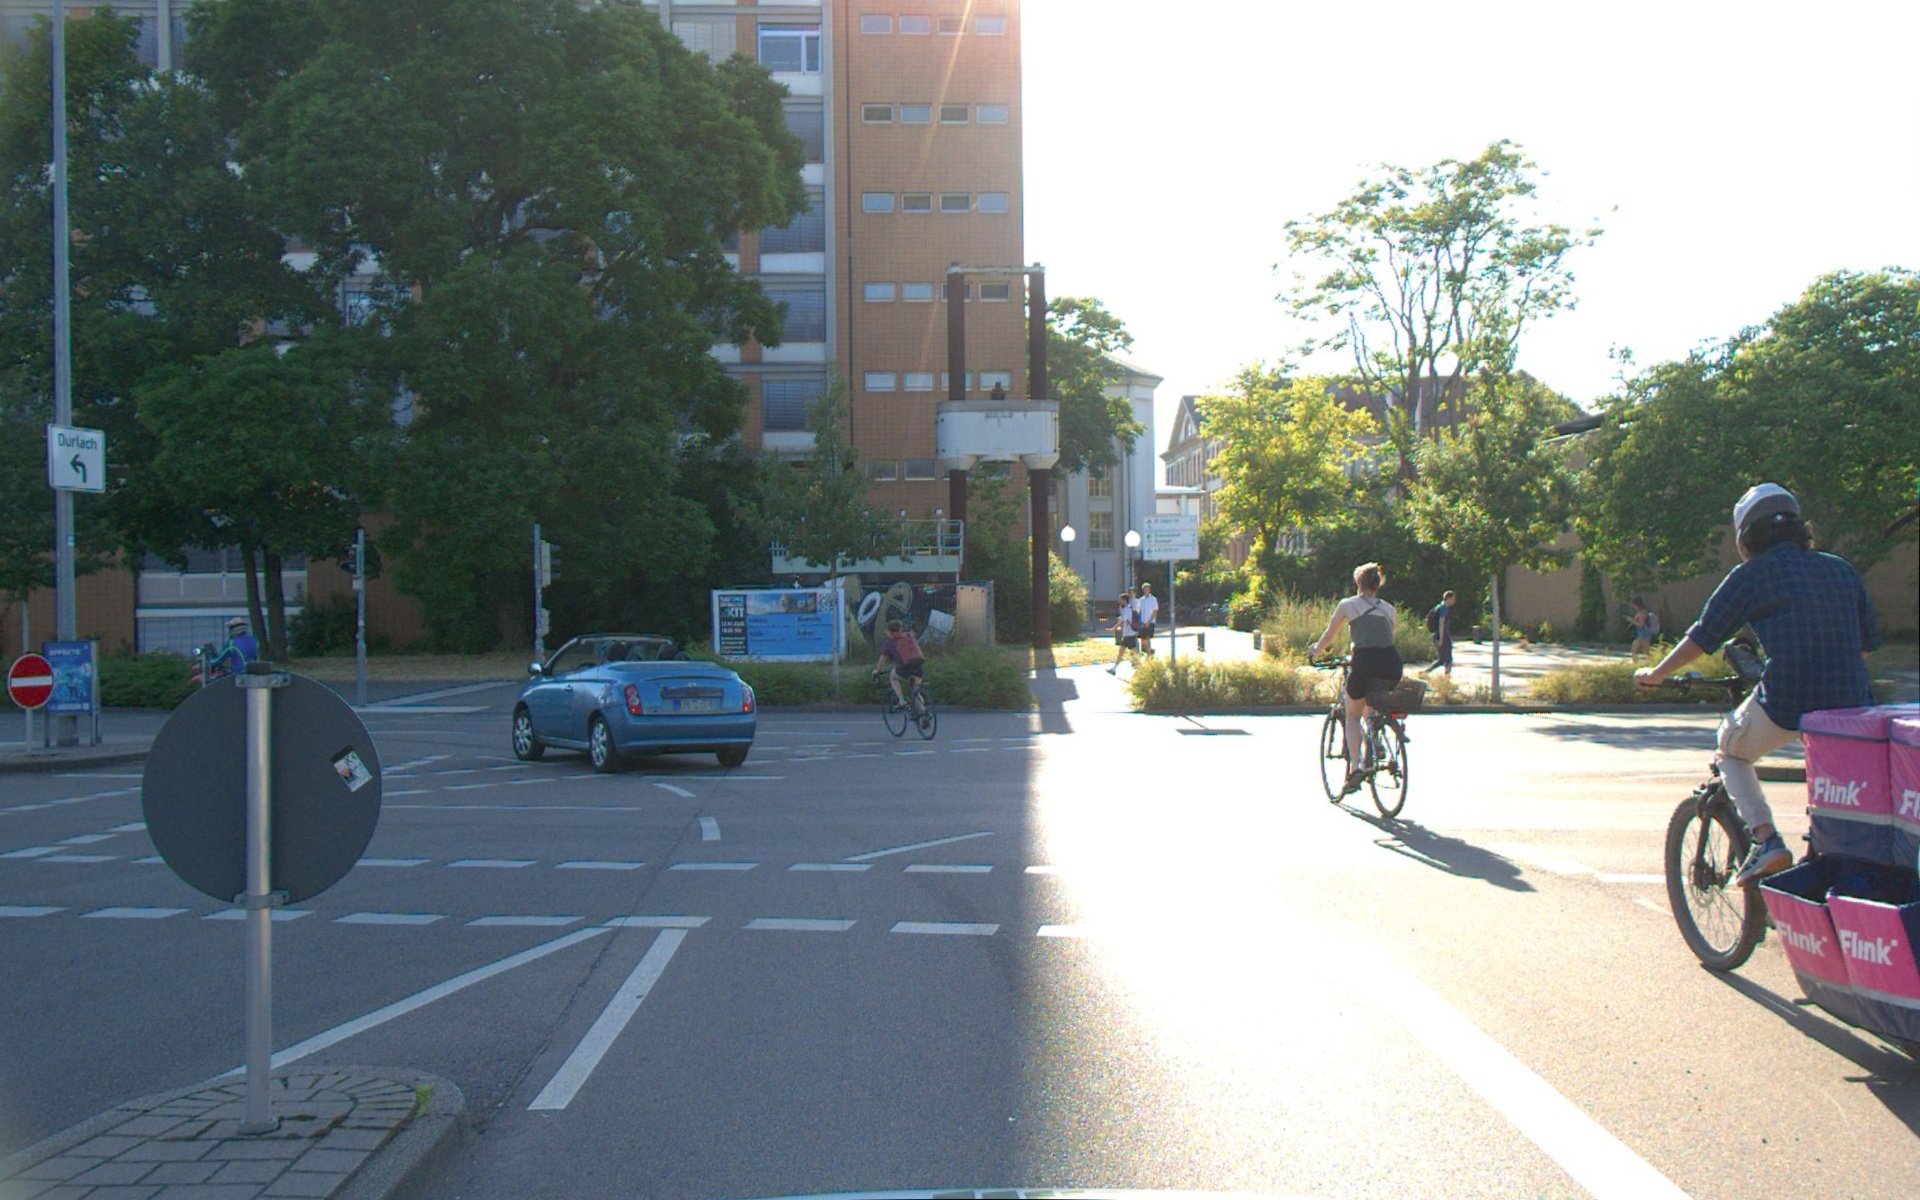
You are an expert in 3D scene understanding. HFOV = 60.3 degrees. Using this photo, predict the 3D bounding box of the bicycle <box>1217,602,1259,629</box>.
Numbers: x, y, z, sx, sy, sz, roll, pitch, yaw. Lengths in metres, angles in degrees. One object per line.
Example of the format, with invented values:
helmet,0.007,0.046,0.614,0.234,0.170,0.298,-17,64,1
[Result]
bicycle,11.981,0.658,71.299,1.757,1.127,0.500,1,-1,1

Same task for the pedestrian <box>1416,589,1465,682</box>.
pedestrian,9.215,0.667,31.705,0.716,1.743,0.713,-1,0,2

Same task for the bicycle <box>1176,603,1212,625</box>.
bicycle,11.848,0.708,83.747,1.757,1.127,0.500,1,-1,1

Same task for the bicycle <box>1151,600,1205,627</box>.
bicycle,11.785,0.731,89.506,2.812,1.405,0.683,1,-1,1

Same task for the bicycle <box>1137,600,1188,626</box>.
bicycle,11.715,0.756,95.745,2.812,1.405,0.683,1,-1,1

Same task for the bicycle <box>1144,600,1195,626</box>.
bicycle,11.846,0.750,93.685,2.812,1.405,0.683,1,-1,1

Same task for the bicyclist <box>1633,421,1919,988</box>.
bicyclist,3.062,0.341,6.017,0.762,1.865,1.093,-1,0,1

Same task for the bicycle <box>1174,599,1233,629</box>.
bicycle,12.033,0.703,81.899,2.812,1.405,0.683,1,-1,1

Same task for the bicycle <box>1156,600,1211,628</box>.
bicycle,11.821,0.723,87.467,2.812,1.405,0.683,1,-1,1

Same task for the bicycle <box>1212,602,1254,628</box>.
bicycle,12.070,0.667,73.233,1.757,1.127,0.500,1,-1,1

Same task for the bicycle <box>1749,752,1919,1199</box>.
bicycle,2.167,0.939,2.800,0.703,1.141,1.868,0,2,-2

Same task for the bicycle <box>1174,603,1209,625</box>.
bicycle,11.981,0.718,85.680,1.757,1.127,0.500,1,-1,1

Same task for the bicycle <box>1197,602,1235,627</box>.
bicycle,12.184,0.692,78.690,1.757,1.127,0.500,1,-1,1

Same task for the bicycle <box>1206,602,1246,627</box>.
bicycle,12.173,0.658,75.728,1.757,1.127,0.500,1,-1,1

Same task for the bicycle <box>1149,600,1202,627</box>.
bicycle,11.779,0.734,90.375,2.812,1.405,0.683,1,-1,1

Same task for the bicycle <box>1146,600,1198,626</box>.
bicycle,11.815,0.742,92.087,2.812,1.405,0.683,1,-1,1

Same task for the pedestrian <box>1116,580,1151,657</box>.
pedestrian,4.334,0.451,41.329,0.571,1.902,0.614,-1,0,-38

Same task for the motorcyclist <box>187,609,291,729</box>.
motorcyclist,-10.806,1.022,24.816,0.916,1.751,1.098,-2,-2,29

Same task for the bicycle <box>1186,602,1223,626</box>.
bicycle,11.988,0.699,81.130,1.757,1.127,0.500,1,-1,1

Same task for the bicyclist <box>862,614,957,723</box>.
bicyclist,-0.681,0.914,22.050,0.716,1.409,1.059,0,-3,-43

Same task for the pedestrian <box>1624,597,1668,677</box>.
pedestrian,13.963,0.748,33.675,0.624,1.602,0.623,-1,0,2

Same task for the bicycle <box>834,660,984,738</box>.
bicycle,-0.706,1.313,22.078,0.716,0.969,2.214,0,-2,-42

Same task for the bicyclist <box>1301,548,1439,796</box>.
bicyclist,2.950,0.498,11.992,0.762,1.706,1.093,-1,0,3

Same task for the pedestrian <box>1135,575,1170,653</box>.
pedestrian,4.752,0.348,40.800,0.571,1.902,0.614,-1,0,-38

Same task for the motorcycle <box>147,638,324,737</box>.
motorcycle,-10.899,1.298,24.851,2.594,1.401,1.098,-2,-2,29

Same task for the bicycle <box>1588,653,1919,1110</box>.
bicycle,3.062,0.821,5.794,0.762,1.176,2.581,-1,0,1

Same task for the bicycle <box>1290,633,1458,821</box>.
bicycle,2.961,0.861,12.072,0.762,1.176,2.292,-1,0,3

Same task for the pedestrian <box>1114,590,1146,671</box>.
pedestrian,3.680,0.648,35.795,0.615,1.729,0.623,-1,0,10

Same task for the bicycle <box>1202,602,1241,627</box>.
bicycle,12.197,0.686,77.229,1.757,1.127,0.500,1,-1,1

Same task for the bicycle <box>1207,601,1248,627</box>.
bicycle,12.114,0.628,74.922,1.757,1.127,0.500,1,-1,1

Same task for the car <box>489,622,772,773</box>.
car,-3.732,1.009,18.242,1.784,1.470,3.933,1,-2,-33
